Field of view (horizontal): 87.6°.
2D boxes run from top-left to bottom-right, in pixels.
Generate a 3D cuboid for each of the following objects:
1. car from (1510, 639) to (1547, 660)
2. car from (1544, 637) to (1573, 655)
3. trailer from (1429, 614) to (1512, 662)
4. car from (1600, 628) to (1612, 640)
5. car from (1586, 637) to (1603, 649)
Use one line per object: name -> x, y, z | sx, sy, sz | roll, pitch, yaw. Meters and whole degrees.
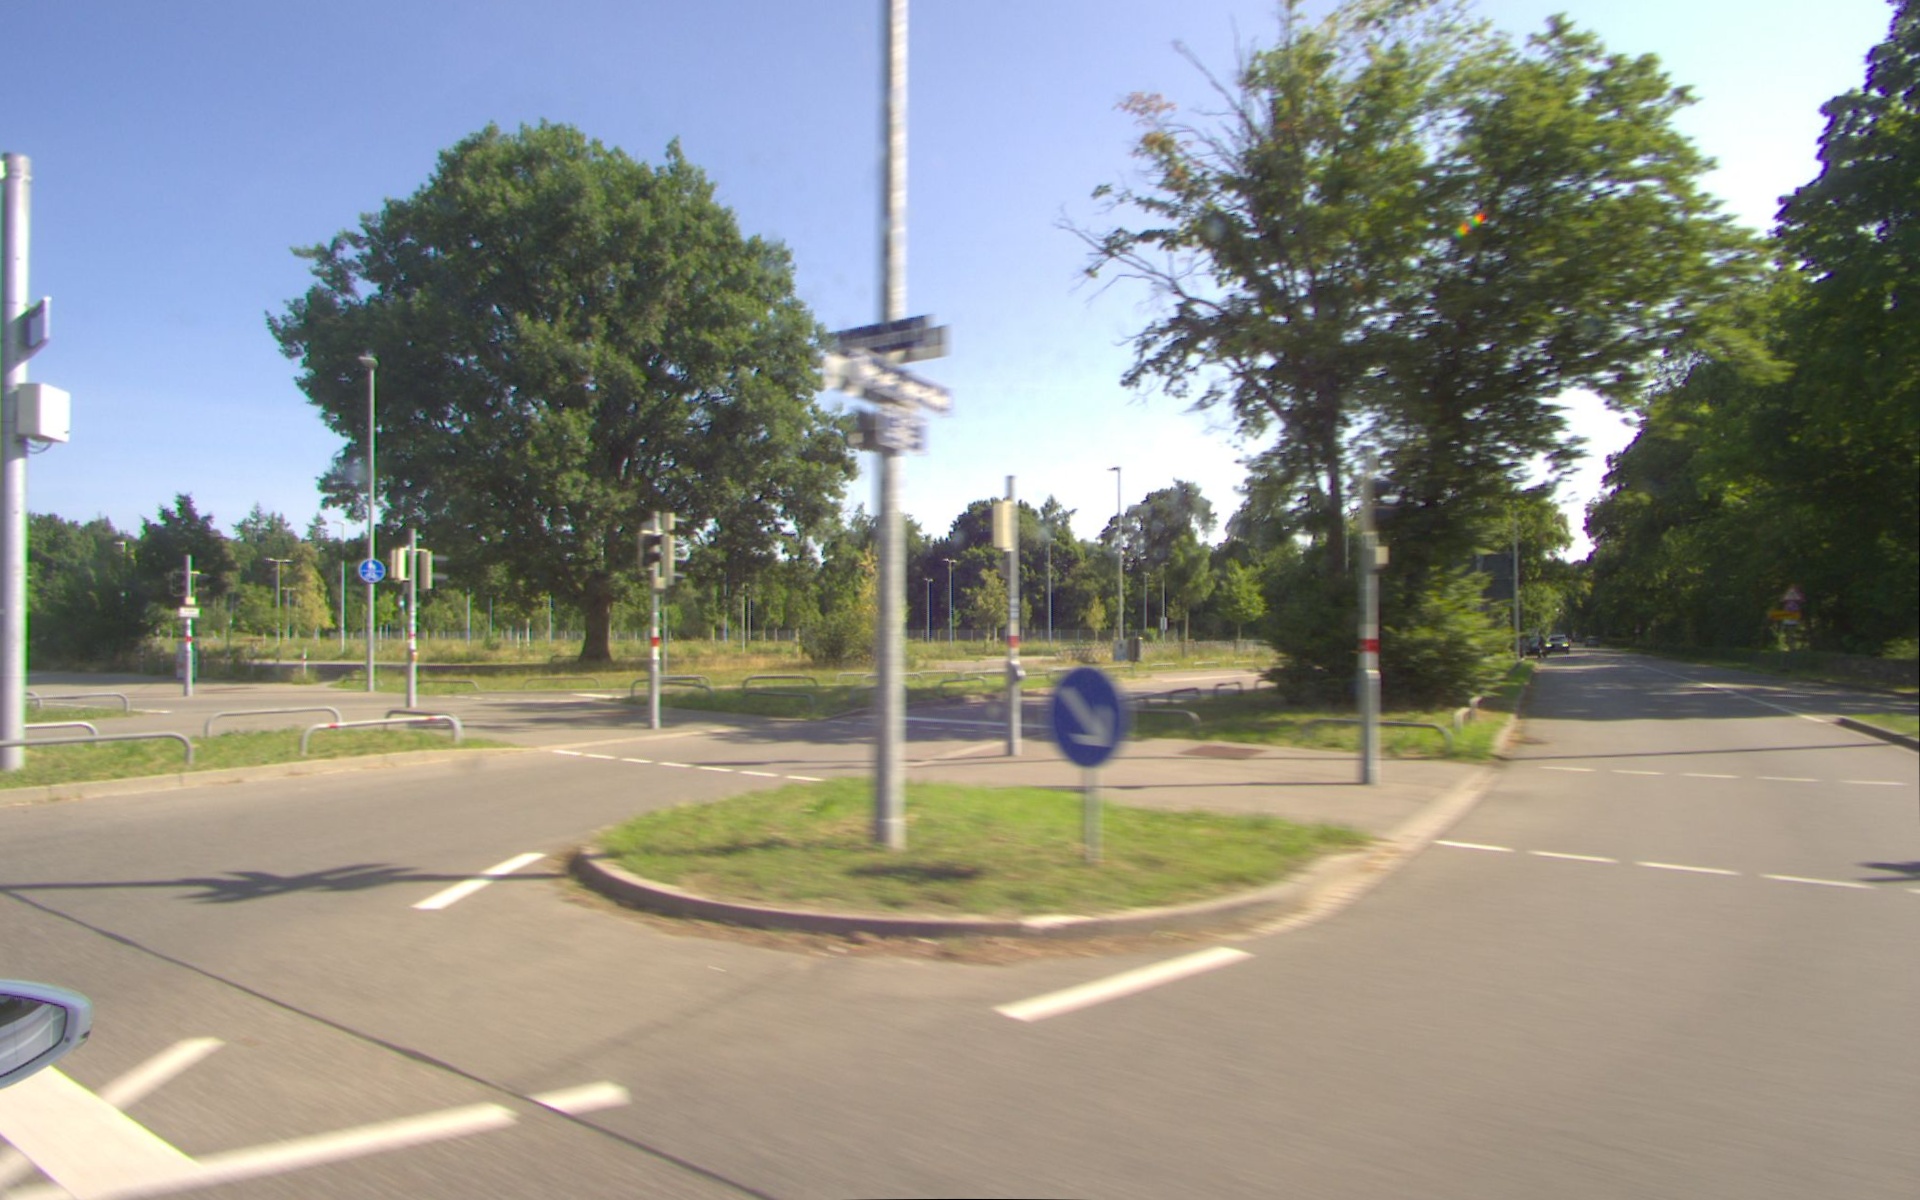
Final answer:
car -> 41.488, 3.601, 73.054 | 1.823, 1.503, 3.974 | -1, -2, 37
car -> 53.026, 4.038, 88.710 | 1.973, 1.505, 3.976 | -1, -2, 35
trailer -> 30.853, 2.315, 60.361 | 2.675, 2.721, 6.830 | -1, -3, 43
car -> 118.465, 6.242, 183.563 | 1.855, 2.039, 3.978 | -1, -2, 34
car -> 91.669, 6.218, 144.755 | 1.973, 1.794, 3.978 | -1, -2, 34
